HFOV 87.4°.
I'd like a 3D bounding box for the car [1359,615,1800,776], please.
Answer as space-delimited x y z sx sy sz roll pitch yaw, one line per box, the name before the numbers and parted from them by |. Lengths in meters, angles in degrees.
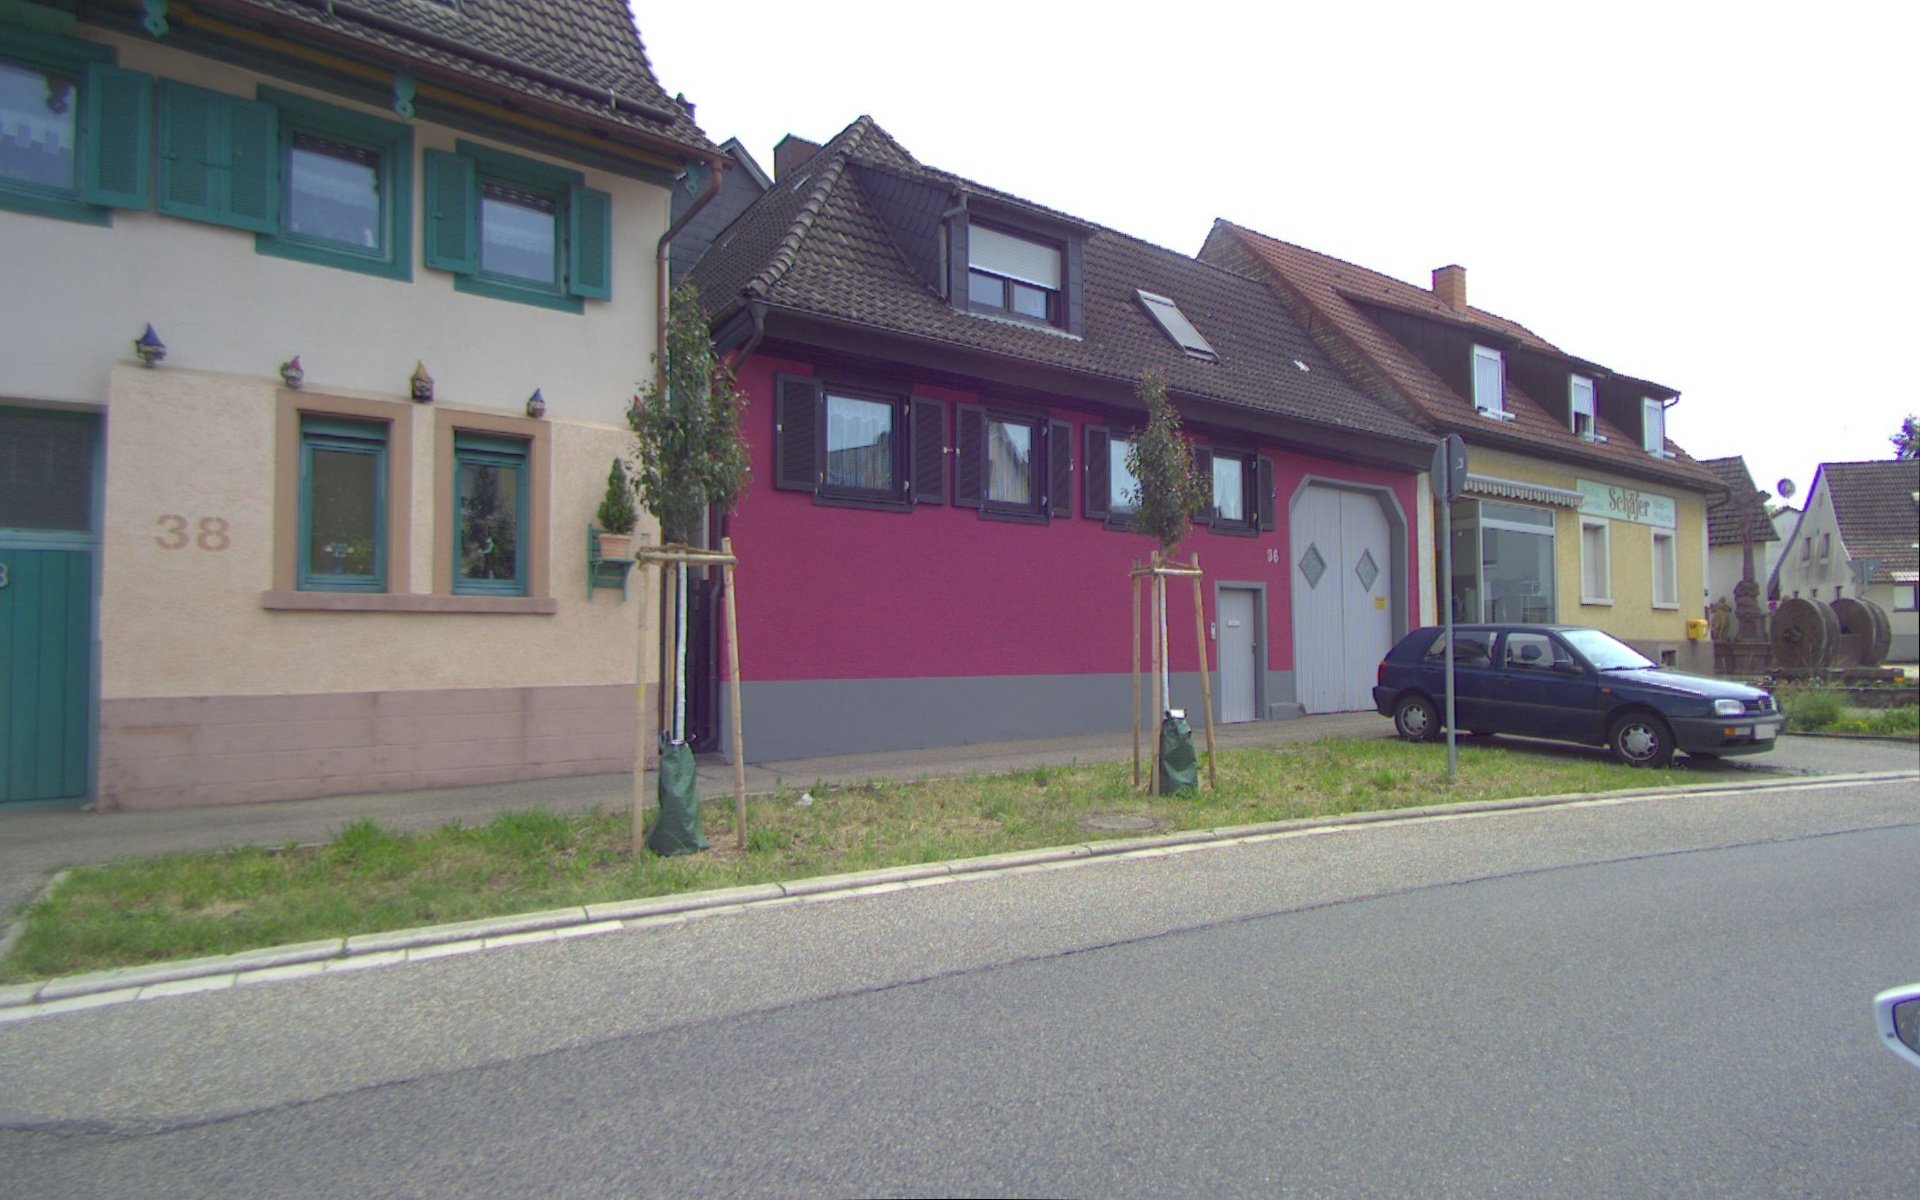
car | 6.776 0.935 11.399 1.703 1.483 3.943 1 -2 -34
